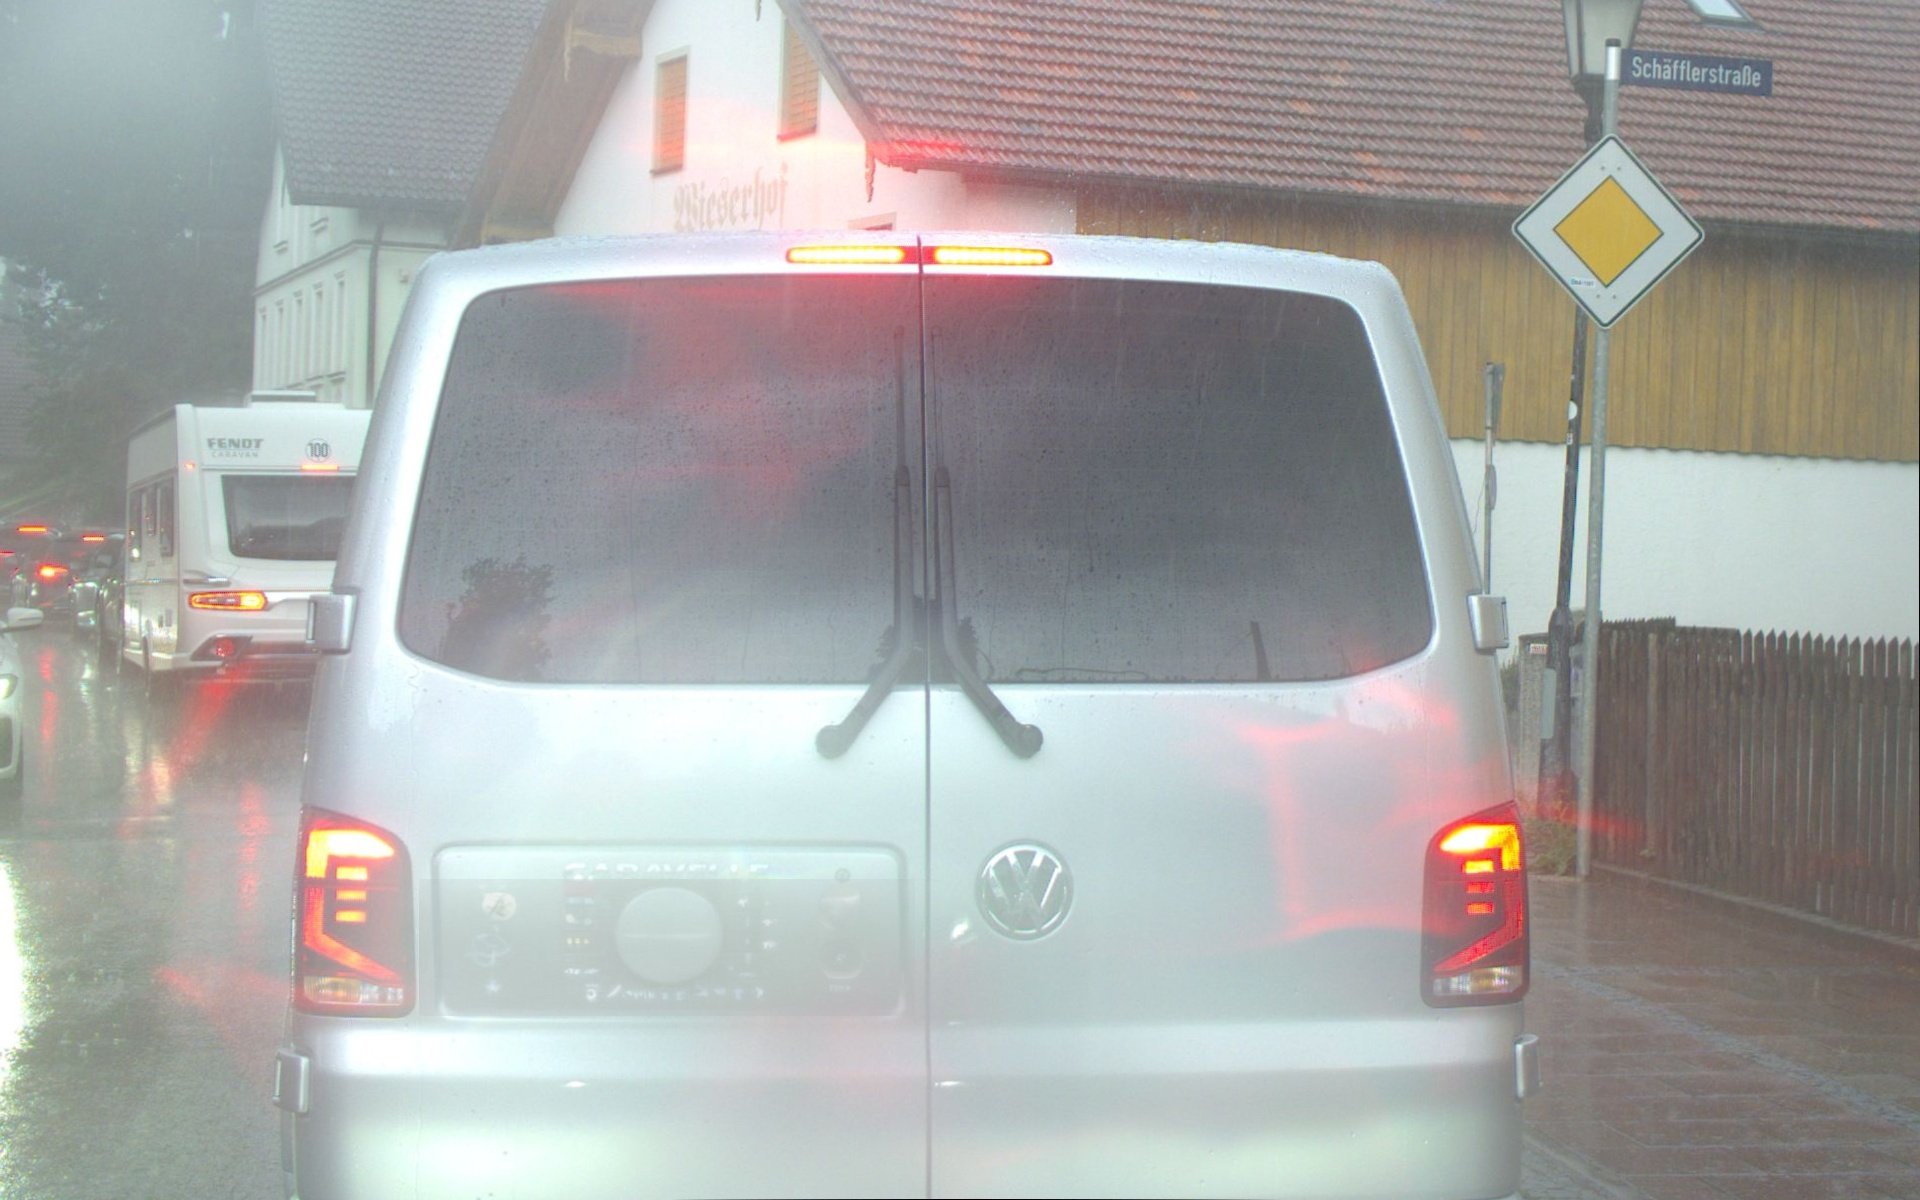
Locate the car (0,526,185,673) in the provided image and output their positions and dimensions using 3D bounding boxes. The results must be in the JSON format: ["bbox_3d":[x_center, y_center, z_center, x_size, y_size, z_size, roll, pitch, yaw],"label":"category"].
[{"bbox_3d":[-12.814,-0.051,50.362,2.168,1.892,5.016,2,1,-20],"label":"car"}]

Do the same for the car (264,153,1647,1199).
[{"bbox_3d":[-0.164,0.381,6.963,1.776,1.956,5.075,0,1,-4],"label":"car"}]

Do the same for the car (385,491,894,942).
[{"bbox_3d":[-1.520,0.343,14.619,1.708,1.578,4.687,-1,2,-11],"label":"car"}]

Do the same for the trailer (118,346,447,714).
[{"bbox_3d":[-6.098,-0.597,30.293,2.270,2.894,6.134,1,1,-16],"label":"trailer"}]

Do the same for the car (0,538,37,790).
[{"bbox_3d":[-6.754,0.309,20.768,1.861,1.354,4.485,-1,2,-20],"label":"car"}]

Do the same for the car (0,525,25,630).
[{"bbox_3d":[-19.397,-0.509,66.336,2.168,1.892,5.016,2,1,-20],"label":"car"}]

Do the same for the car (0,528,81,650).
[{"bbox_3d":[-16.329,-0.249,58.422,2.168,1.892,5.016,2,1,-20],"label":"car"}]
